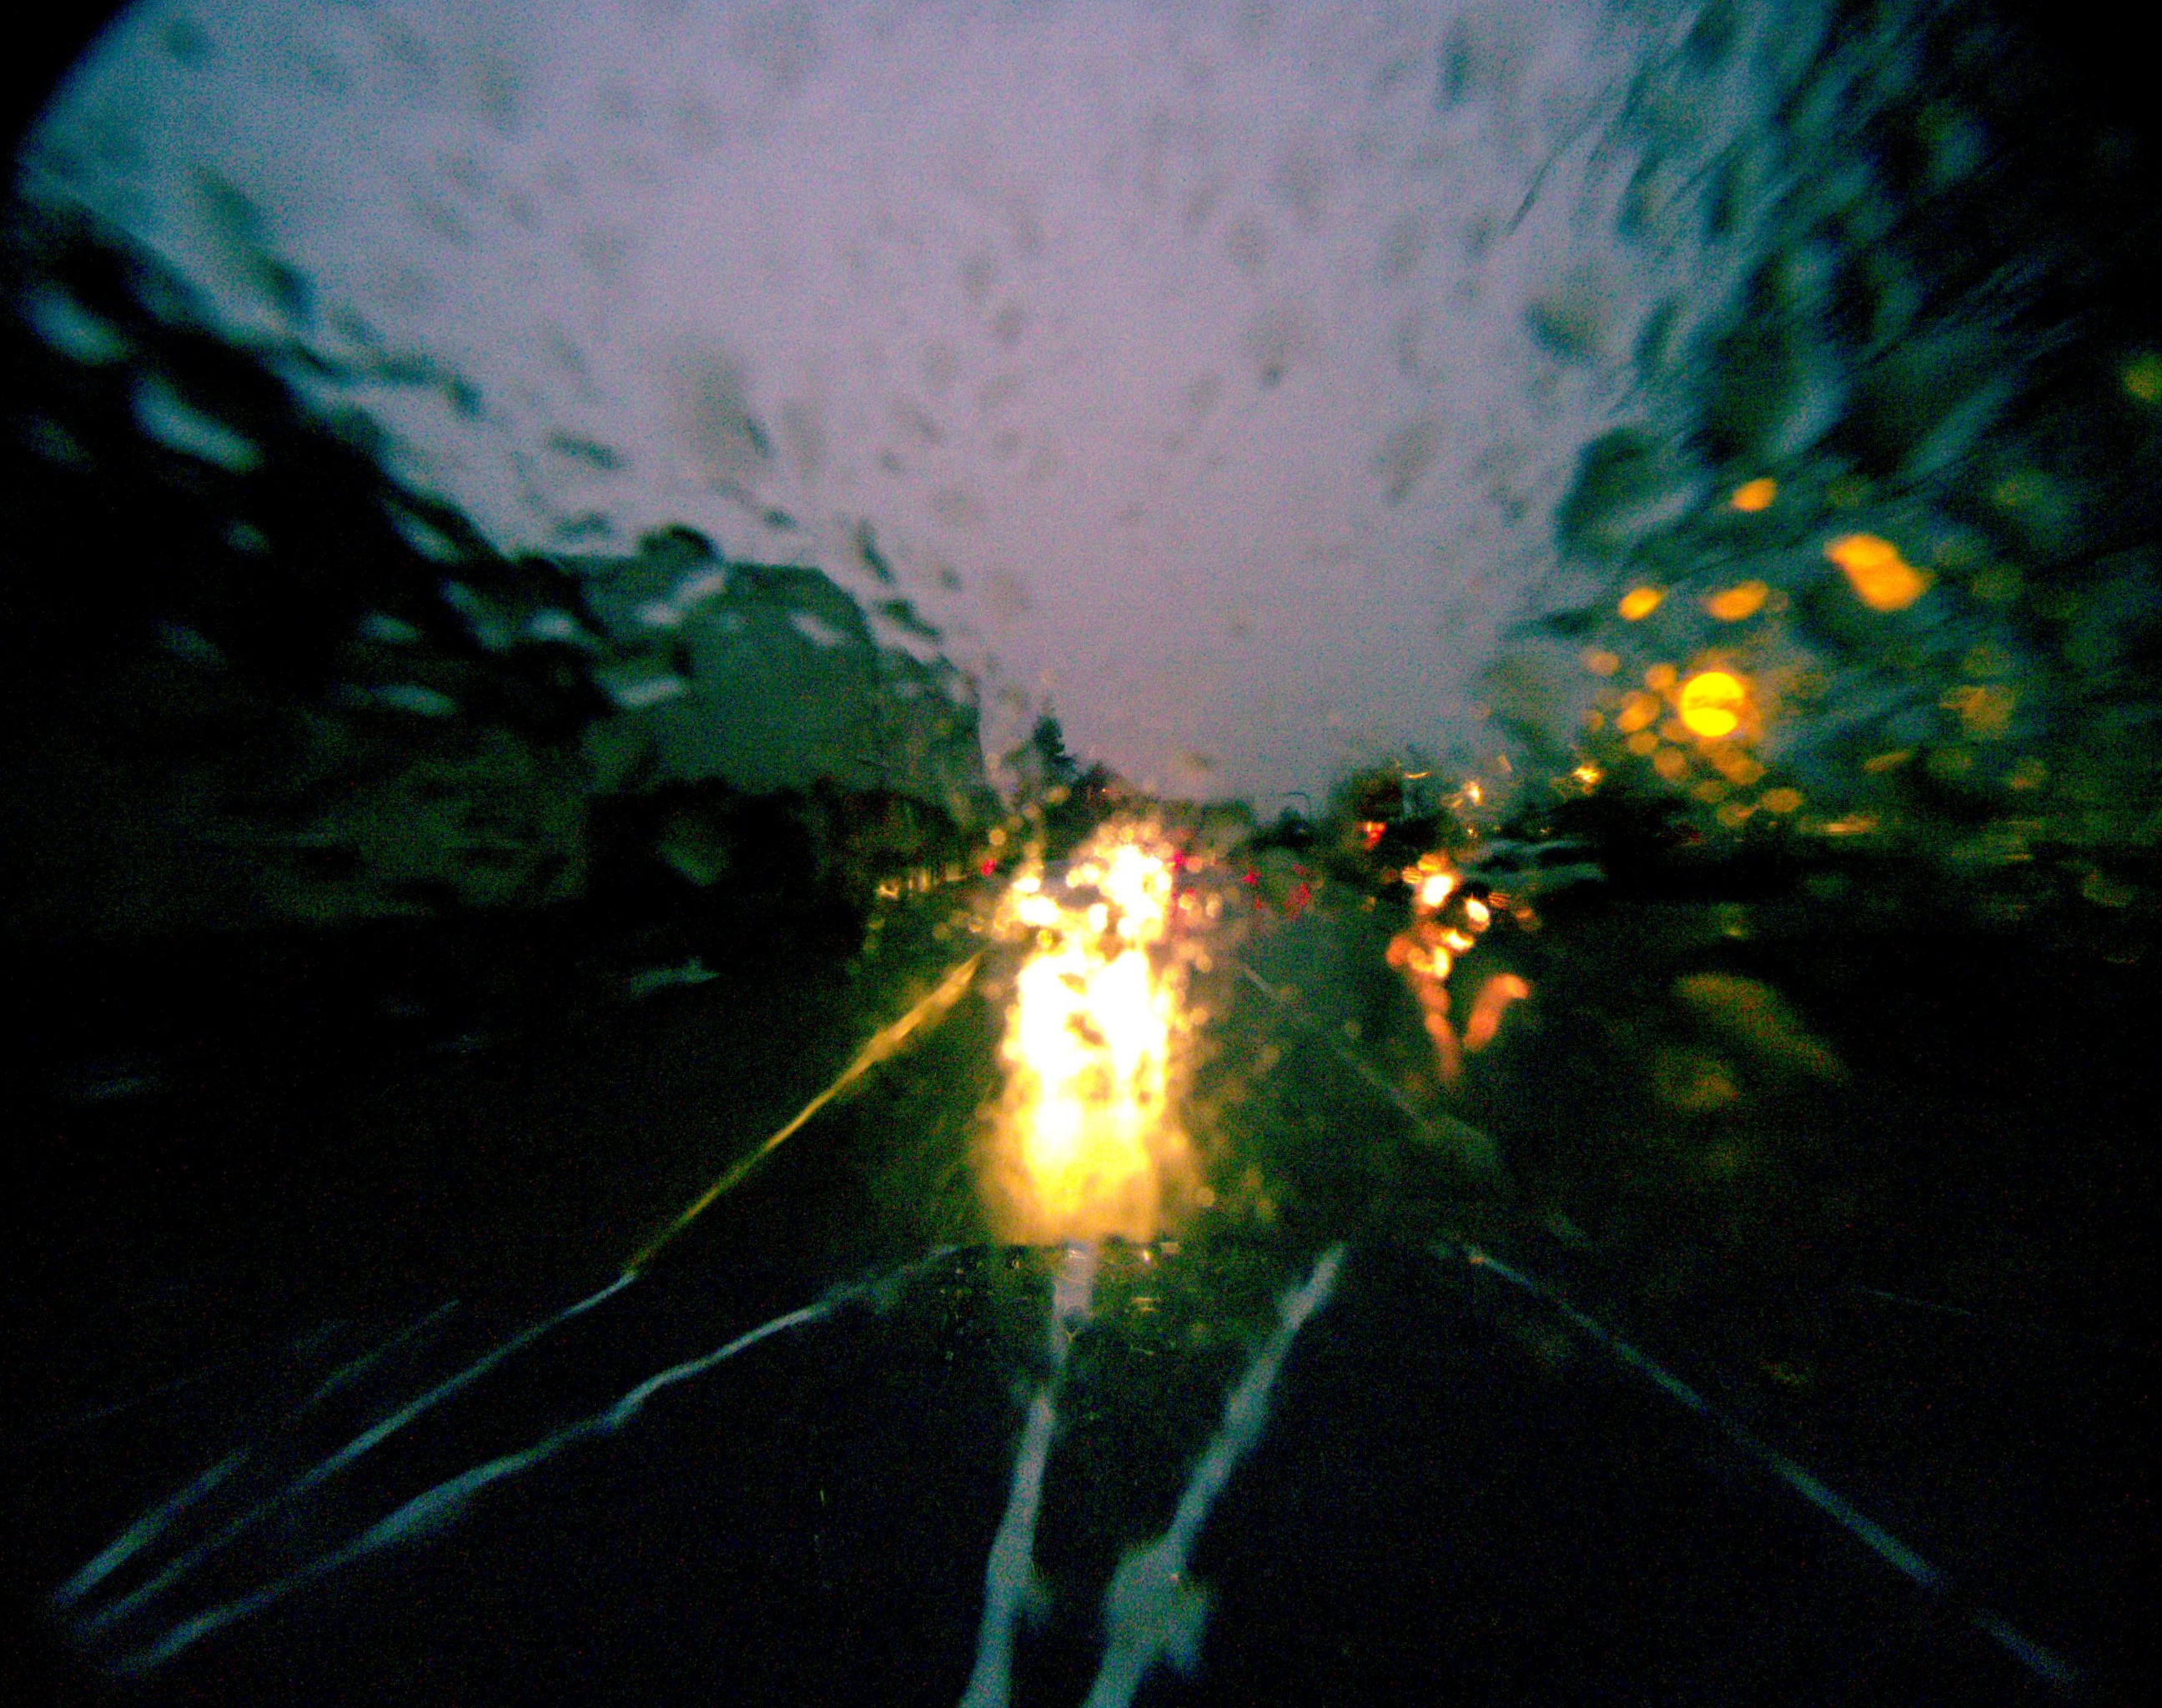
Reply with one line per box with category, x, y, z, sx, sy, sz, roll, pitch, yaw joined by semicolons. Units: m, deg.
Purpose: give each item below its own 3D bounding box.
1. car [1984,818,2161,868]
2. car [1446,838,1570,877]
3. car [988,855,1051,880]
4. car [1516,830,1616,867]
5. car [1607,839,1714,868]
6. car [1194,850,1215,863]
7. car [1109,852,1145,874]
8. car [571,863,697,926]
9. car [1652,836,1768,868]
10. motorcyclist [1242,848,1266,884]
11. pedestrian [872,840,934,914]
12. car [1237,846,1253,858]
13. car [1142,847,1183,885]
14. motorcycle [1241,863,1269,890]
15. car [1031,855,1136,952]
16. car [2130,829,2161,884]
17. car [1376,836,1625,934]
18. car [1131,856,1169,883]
car;32.713;-0.320;24.779;4.443;1.554;2.055;0;-1;-5
car;20.094;0.149;35.883;4.784;1.702;2.032;-1;0;-6
car;-4.276;0.941;53.234;4.181;1.432;1.798;-4;-1;1
car;31.166;-0.317;48.912;5.201;2.269;2.218;0;0;-5
car;31.704;-0.005;41.641;4.443;1.554;2.055;0;-1;-5
car;14.614;0.253;89.878;1.773;1.422;3.802;-2;0;19
car;3.263;0.617;53.573;1.997;1.464;4.003;-2;0;10
car;-11.380;0.963;19.669;1.882;1.251;4.163;-1;2;-17
car;32.321;-0.086;39.132;4.443;1.554;2.055;0;-1;-5
motorcyclist;7.379;0.506;32.419;0.867;1.477;0.909;-2;1;5
pedestrian;-4.674;0.575;20.033;1.257;1.855;1.303;1;1;4
car;26.135;-0.358;120.795;1.945;1.795;4.178;-2;0;19
car;4.136;0.551;37.968;1.775;1.713;4.424;-1;0;9
motorcycle;7.384;0.934;32.322;0.867;1.018;2.110;-2;1;5
car;0.098;0.862;15.396;1.776;1.632;4.421;-1;0;1
car;32.686;0.076;21.184;4.443;1.554;2.055;0;-1;-5
car;8.869;0.606;16.318;4.237;1.689;1.899;-4;1;-2
car;4.327;0.953;47.306;1.665;1.477;4.004;-1;1;15
